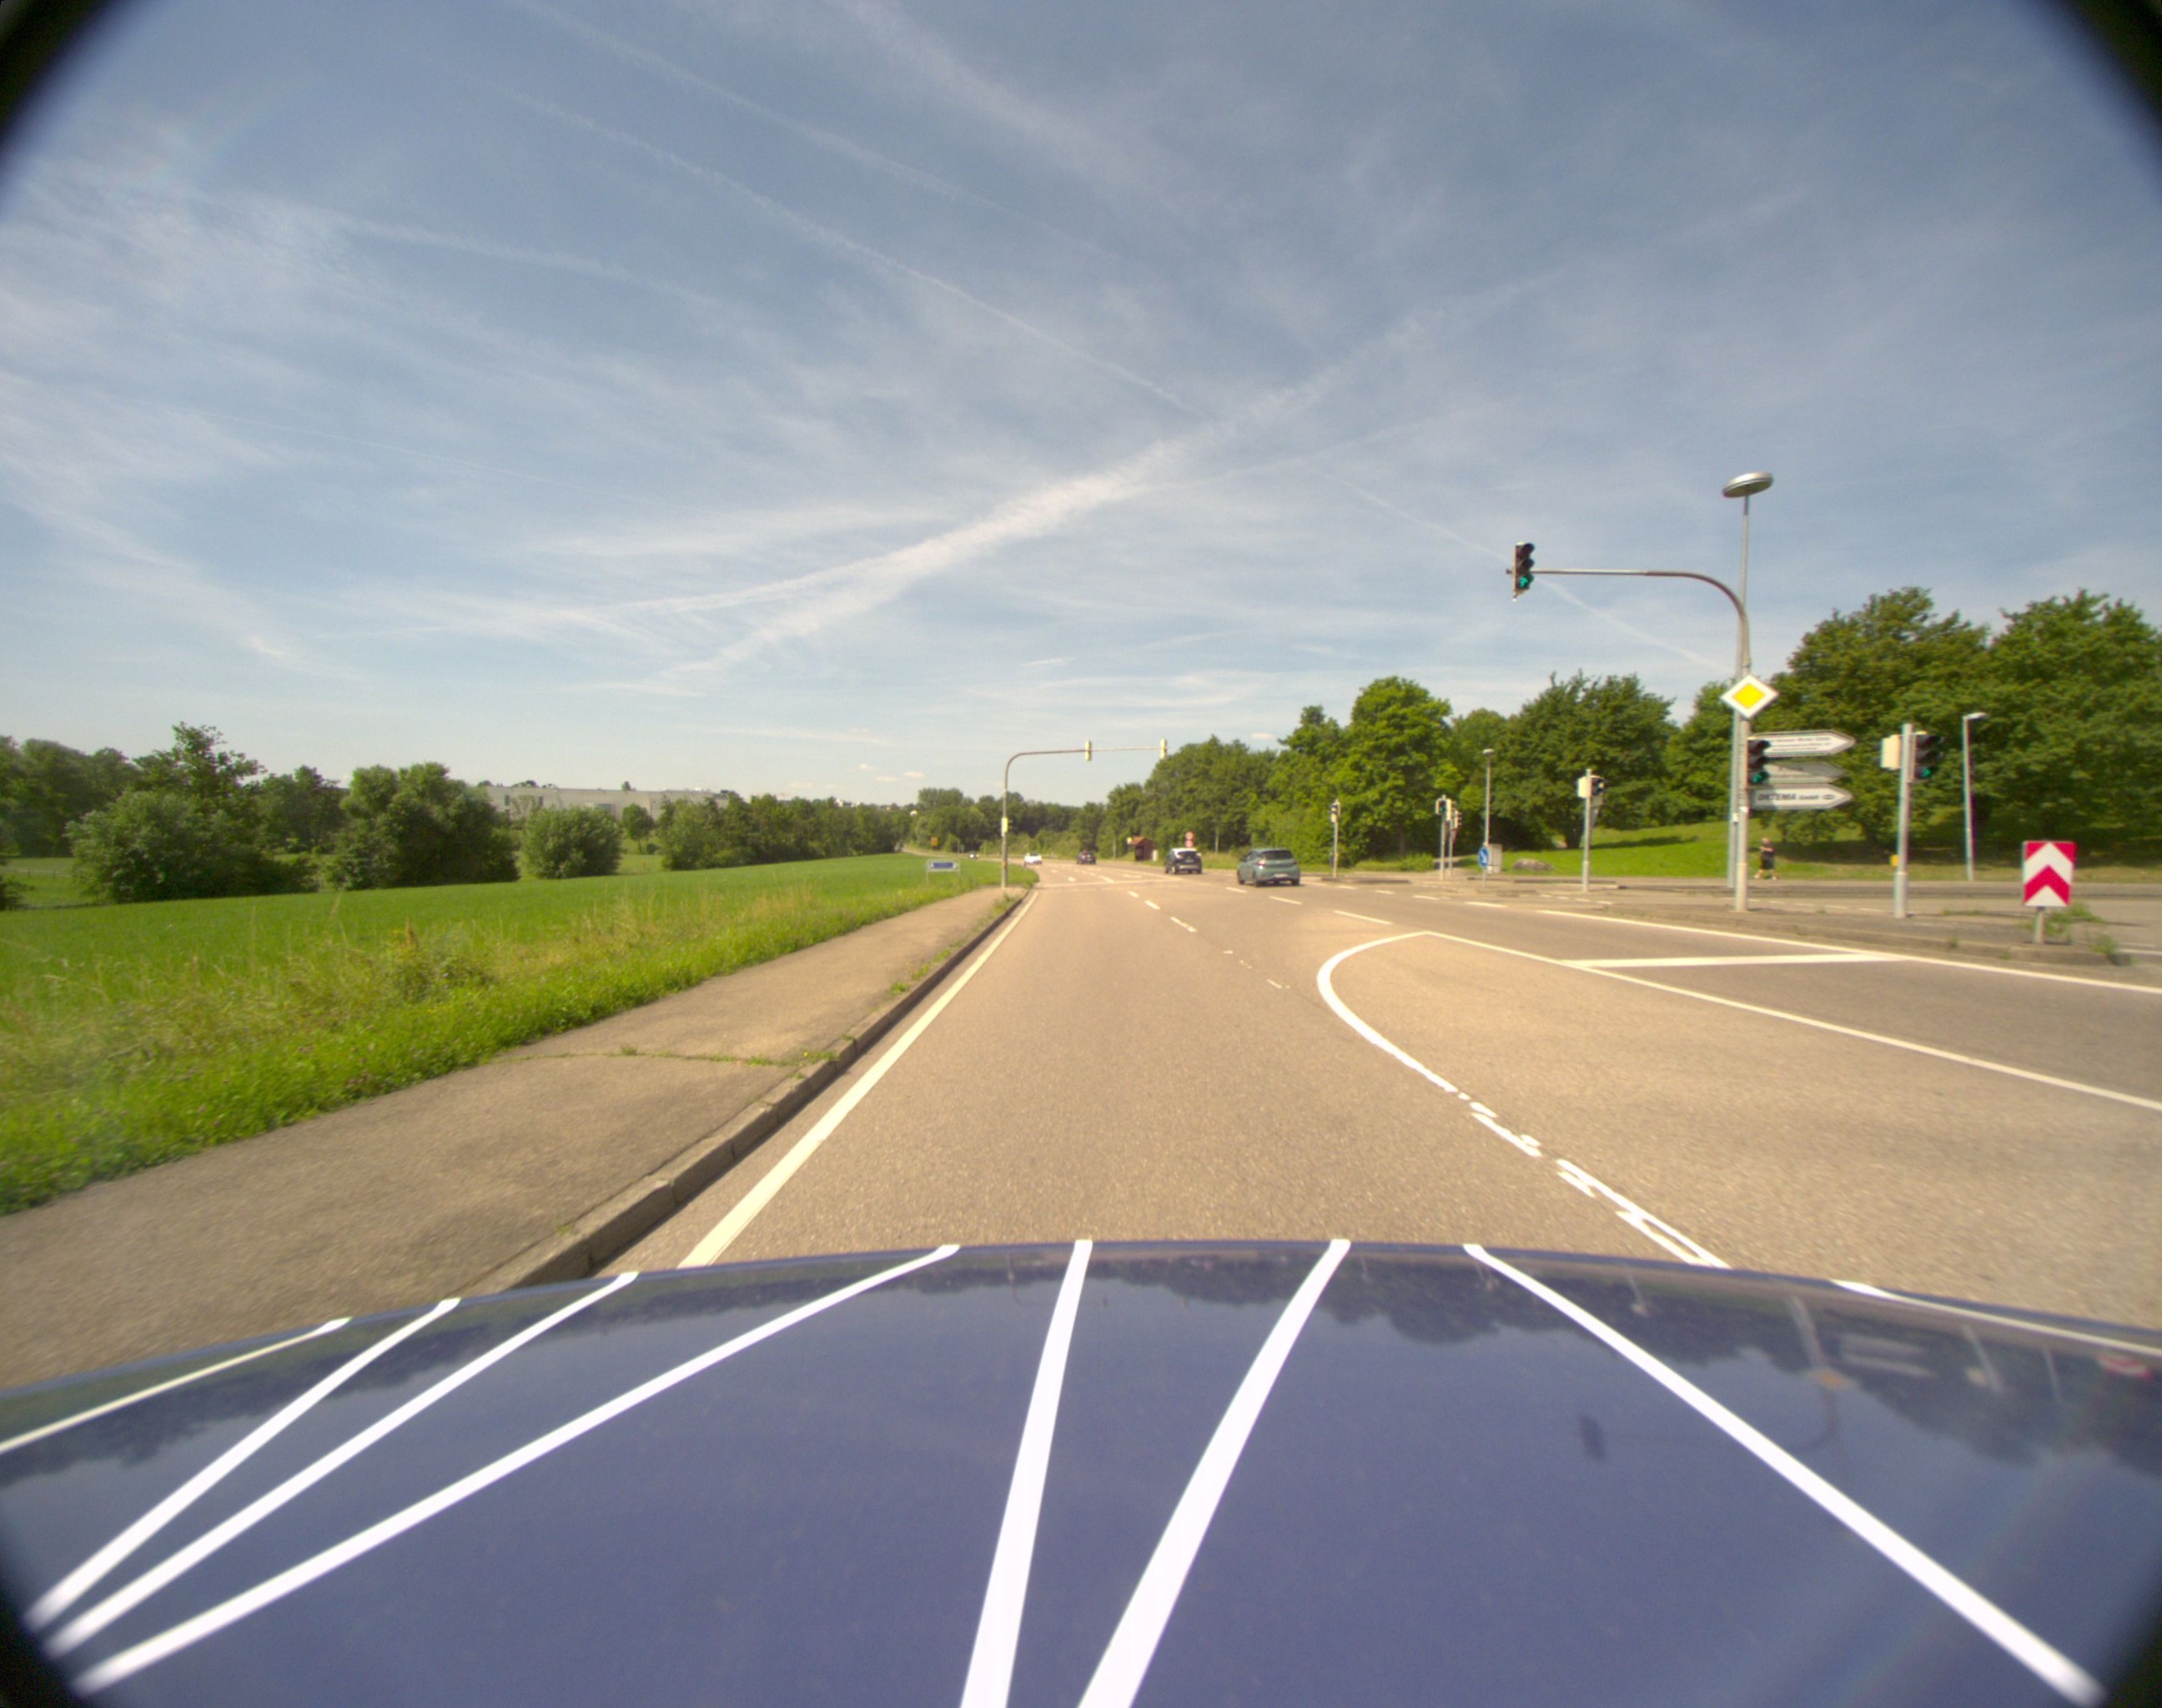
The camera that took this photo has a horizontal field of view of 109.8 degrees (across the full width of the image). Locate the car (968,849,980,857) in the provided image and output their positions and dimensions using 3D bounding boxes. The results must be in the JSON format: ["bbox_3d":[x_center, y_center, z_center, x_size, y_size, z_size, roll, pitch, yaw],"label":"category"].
[{"bbox_3d":[-22.708,-0.298,161.664,2.001,1.576,3.994,-2,1,-15],"label":"car"}]

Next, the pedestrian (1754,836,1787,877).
[{"bbox_3d":[29.757,0.123,32.794,0.919,1.726,0.901,-1,1,34],"label":"pedestrian"}]

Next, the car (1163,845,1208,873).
[{"bbox_3d":[6.387,0.265,46.872,1.979,1.553,4.187,-2,1,-2],"label":"car"}]

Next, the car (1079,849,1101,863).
[{"bbox_3d":[1.044,0.238,88.561,1.797,1.466,4.307,-2,1,-8],"label":"car"}]

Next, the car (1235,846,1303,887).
[{"bbox_3d":[7.379,0.442,30.135,1.711,1.474,3.831,-2,1,0],"label":"car"}]

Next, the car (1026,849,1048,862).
[{"bbox_3d":[-5.806,0.190,99.551,2.001,1.576,3.994,-2,1,-15],"label":"car"}]
